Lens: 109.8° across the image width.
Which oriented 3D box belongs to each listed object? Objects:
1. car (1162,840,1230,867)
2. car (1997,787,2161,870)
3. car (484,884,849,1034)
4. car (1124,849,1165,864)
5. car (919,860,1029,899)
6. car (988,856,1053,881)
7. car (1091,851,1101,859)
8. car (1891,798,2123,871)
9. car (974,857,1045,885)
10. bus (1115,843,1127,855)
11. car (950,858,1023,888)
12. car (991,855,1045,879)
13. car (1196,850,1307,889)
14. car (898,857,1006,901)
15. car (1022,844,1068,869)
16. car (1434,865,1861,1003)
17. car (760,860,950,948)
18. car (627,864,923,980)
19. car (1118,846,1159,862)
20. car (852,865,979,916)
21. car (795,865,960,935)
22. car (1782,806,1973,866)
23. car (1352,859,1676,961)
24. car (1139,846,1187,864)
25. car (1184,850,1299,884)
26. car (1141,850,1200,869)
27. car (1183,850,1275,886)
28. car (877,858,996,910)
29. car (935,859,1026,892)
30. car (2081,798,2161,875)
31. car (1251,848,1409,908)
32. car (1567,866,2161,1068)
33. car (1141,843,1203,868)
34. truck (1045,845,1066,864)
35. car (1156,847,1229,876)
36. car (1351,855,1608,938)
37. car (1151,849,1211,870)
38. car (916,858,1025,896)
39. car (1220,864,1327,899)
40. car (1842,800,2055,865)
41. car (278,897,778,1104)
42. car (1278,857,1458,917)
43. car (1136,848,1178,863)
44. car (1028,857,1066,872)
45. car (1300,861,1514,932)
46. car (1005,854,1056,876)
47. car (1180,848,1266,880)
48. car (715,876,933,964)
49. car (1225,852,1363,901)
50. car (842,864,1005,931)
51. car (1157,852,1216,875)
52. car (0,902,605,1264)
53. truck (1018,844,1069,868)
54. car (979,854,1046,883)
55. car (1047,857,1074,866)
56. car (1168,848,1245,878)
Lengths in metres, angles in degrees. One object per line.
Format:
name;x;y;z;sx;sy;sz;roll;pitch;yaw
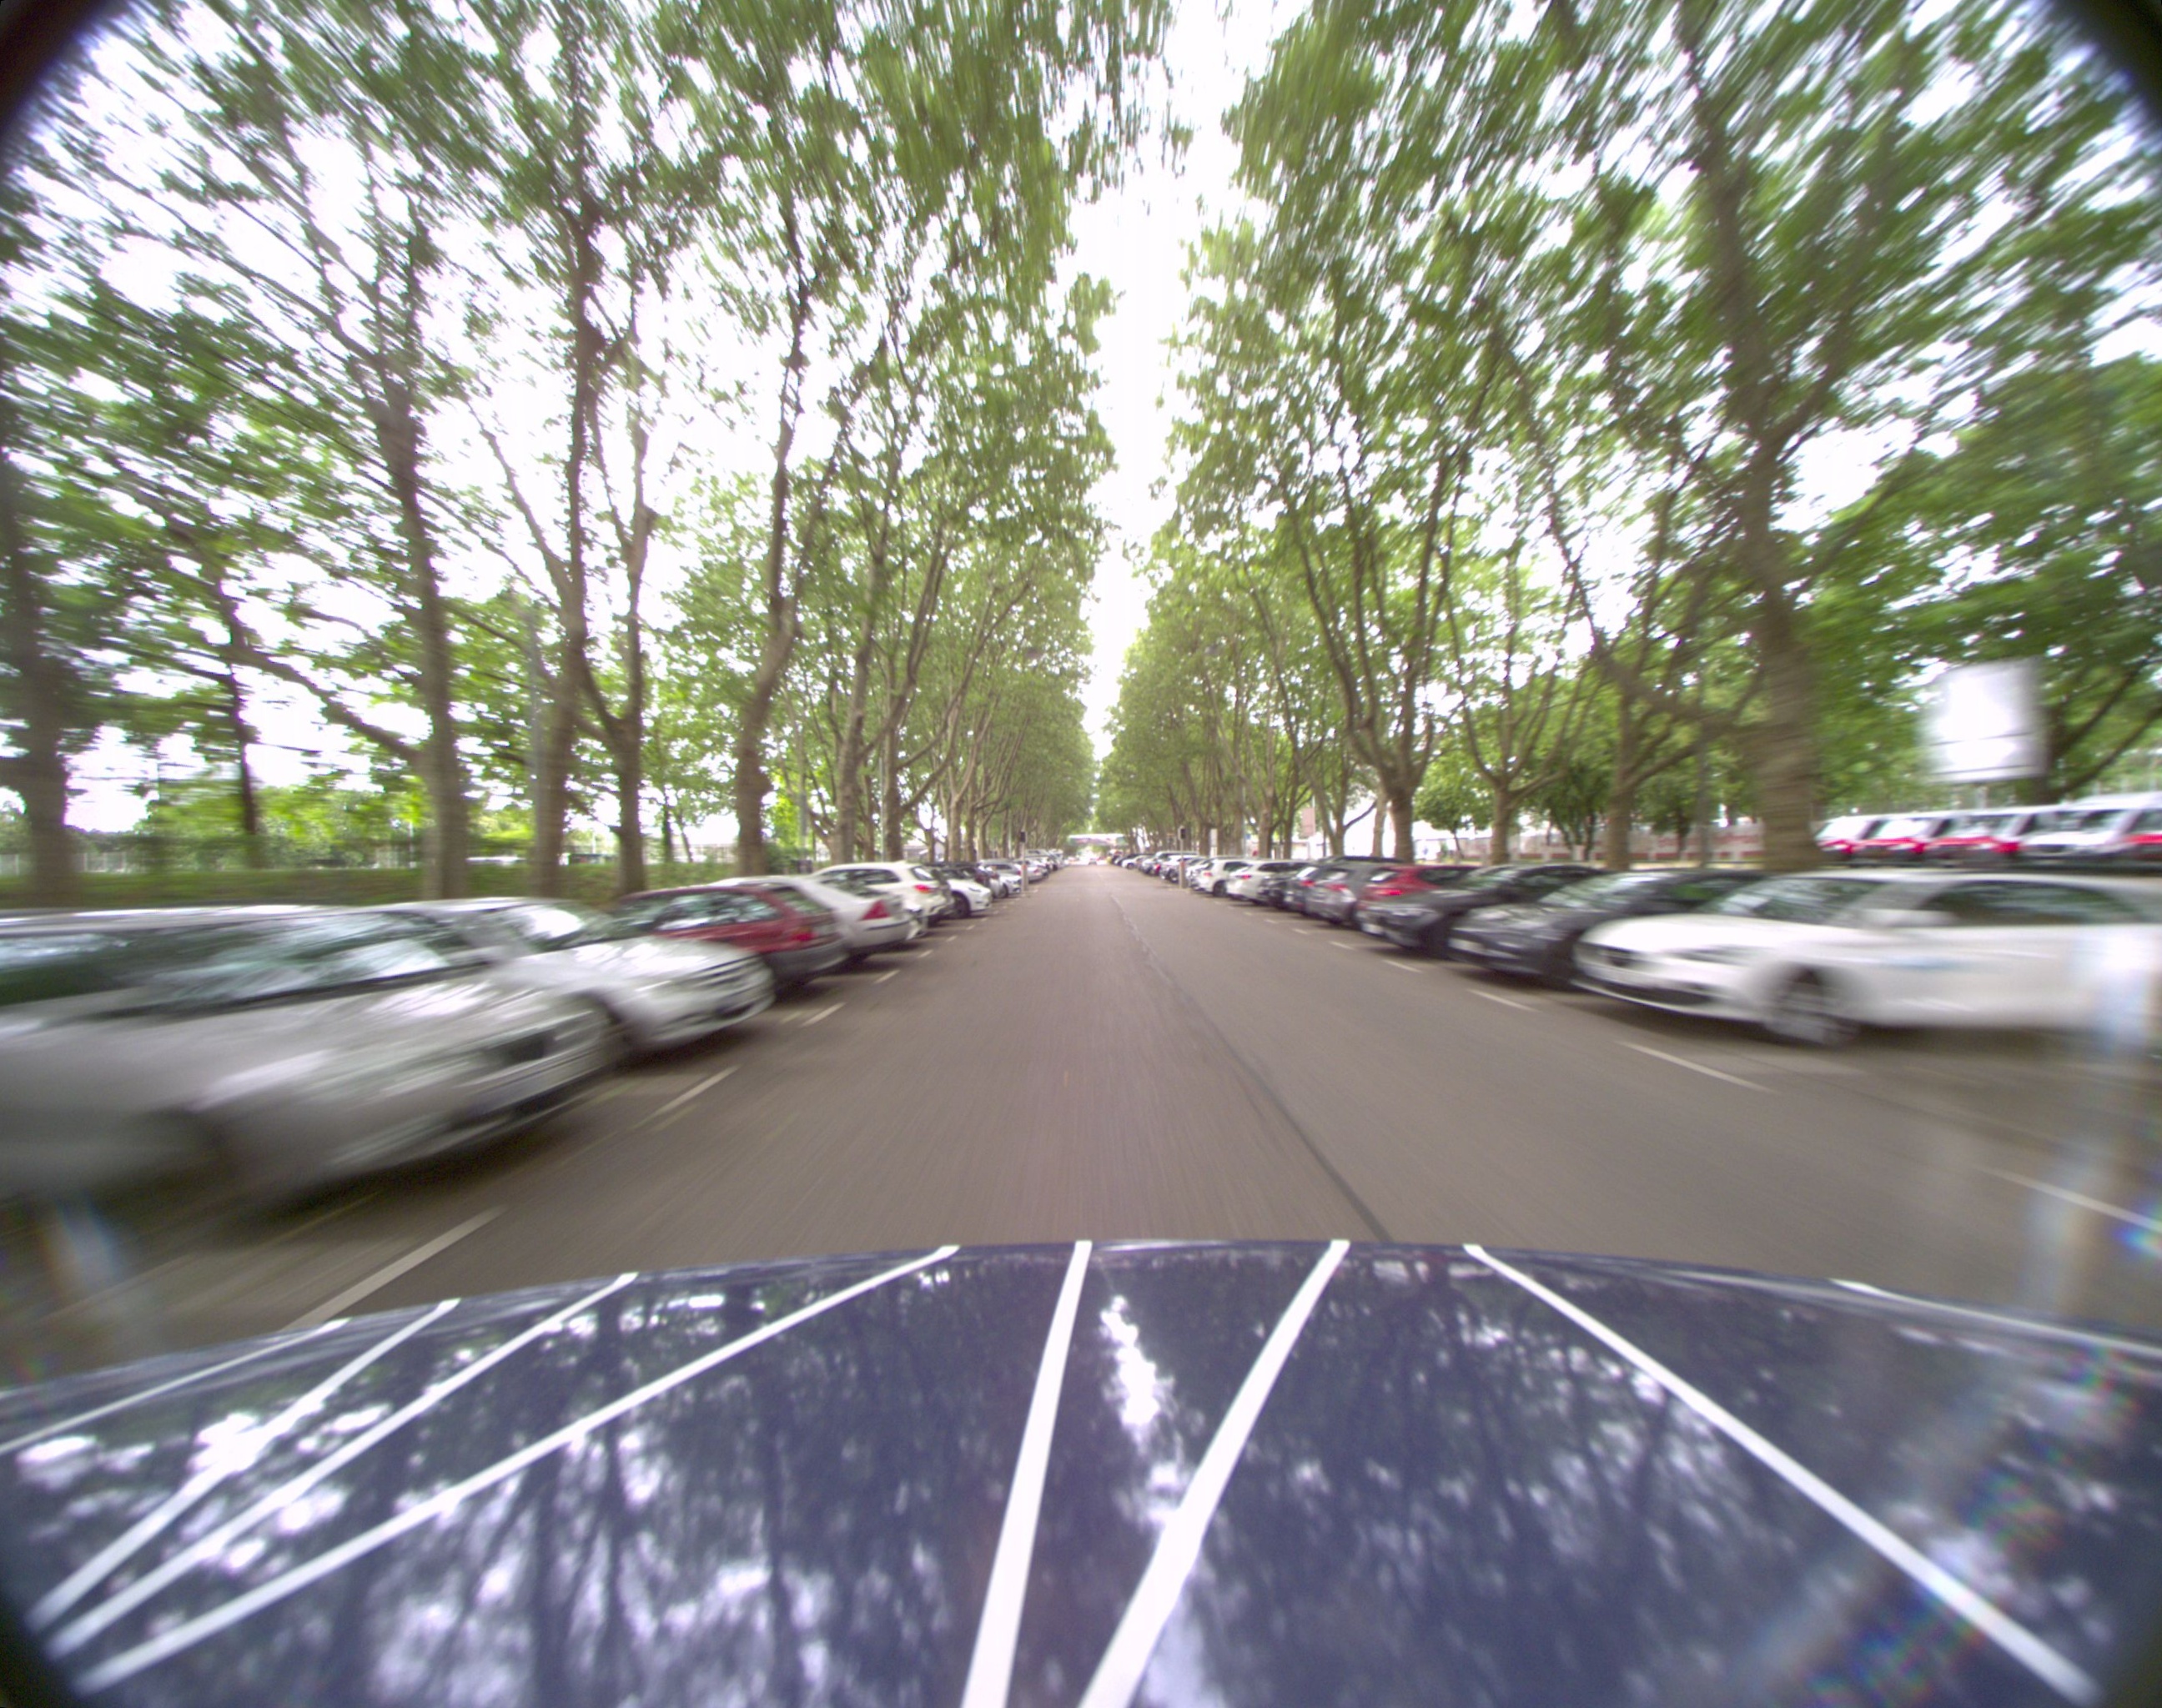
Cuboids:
car;7.030;-0.009;46.731;3.837;1.618;1.952;0;0;-3
car;34.537;-0.871;25.135;6.017;2.512;2.000;-2;0;0
car;-4.731;1.165;9.050;3.434;1.415;1.518;-2;0;-3
car;7.245;0.279;87.005;4.391;1.587;2.000;0;0;-1
car;-4.797;1.147;34.472;4.625;1.461;1.650;-4;0;3
car;-4.022;0.981;51.202;4.222;1.443;1.610;-2;0;-1
car;2.746;0.104;142.487;1.693;1.462;3.839;0;0;-1
car;33.765;-0.690;27.820;6.017;2.304;2.000;-2;0;0
car;-4.335;1.022;46.401;4.124;1.461;1.694;-2;0;0
bus;10.578;-1.233;200.989;2.658;3.136;12.370;1;0;2
car;-5.171;1.034;41.972;3.785;1.461;1.667;-2;0;0
car;-4.659;0.958;56.310;3.837;1.598;1.694;-2;0;-1
car;6.486;0.584;29.169;3.837;1.421;1.694;0;0;-3
car;-4.836;0.925;28.839;3.786;1.461;1.623;-2;0;-3
car;-4.274;0.328;91.487;5.241;2.673;1.957;-3;0;1
car;6.489;0.869;8.997;3.837;1.421;1.693;0;1;-3
car;-4.832;1.053;16.606;3.655;1.657;1.518;-2;0;-3
car;-4.443;0.953;11.561;3.655;1.415;1.985;-2;0;-3
car;7.965;-0.001;105.151;5.450;2.115;1.940;0;0;-1
car;-5.171;1.133;24.030;3.655;1.363;1.518;-2;0;-3
car;-5.049;1.121;19.185;3.654;1.510;1.643;-2;0;1
car;33.949;-0.738;32.492;6.017;2.239;2.000;-2;0;0
car;6.484;0.803;11.659;4.032;1.421;1.694;0;0;-3
car;7.879;0.097;73.481;4.352;1.658;2.000;1;0;-1
car;6.684;0.539;31.918;4.413;1.357;1.694;0;0;-3
car;6.858;0.409;58.743;4.458;1.444;1.775;0;0;4
car;6.681;0.616;34.547;3.837;1.598;1.694;0;0;-3
car;-4.969;1.011;26.460;3.786;1.588;1.820;-2;0;-3
car;-5.086;1.081;38.750;4.377;1.461;1.623;-2;0;0
car;34.256;-0.628;22.723;6.017;2.227;2.000;-2;0;0
car;6.979;0.653;21.525;3.838;1.599;1.858;0;0;-3
car;6.970;0.877;6.575;4.412;1.421;1.694;1;0;0
car;7.611;0.119;63.745;4.907;2.007;1.919;0;1;-3
truck;-4.072;0.094;119.433;2.466;2.920;7.533;-2;0;-8
car;6.414;0.429;44.030;4.077;1.598;1.799;0;0;3
car;7.192;0.734;14.027;3.835;1.421;1.695;0;0;4
car;7.113;0.380;54.184;4.007;1.463;1.536;1;0;-5
car;-4.466;0.924;31.173;4.309;1.461;1.623;-1;0;-3
car;6.717;0.949;26.668;3.325;1.196;1.584;0;0;-3
car;33.971;-0.823;29.872;6.017;2.239;2.000;-2;0;0
car;-4.658;1.180;6.593;3.431;1.415;1.520;-2;0;11
car;7.106;0.791;19.073;3.837;1.421;1.802;0;0;-1
car;7.580;0.156;75.820;3.998;1.467;1.842;1;0;-2
car;-3.864;1.179;86.177;4.129;1.420;1.703;-4;1;2
car;6.850;0.865;16.210;3.837;1.421;1.694;0;0;-3
car;-4.558;0.979;69.617;4.394;1.745;1.801;-3;0;3
car;7.199;0.502;38.716;4.054;1.599;1.694;0;1;-3
car;-4.843;1.226;14.680;3.655;1.402;1.518;-2;0;-3
car;6.620;0.682;23.882;3.837;1.488;1.694;0;0;-3
car;-4.311;1.172;21.326;4.178;1.587;1.854;-2;0;-3
car;7.187;0.644;52.129;3.765;1.466;1.864;1;0;-1
car;-4.885;1.085;4.129;3.686;1.415;1.520;-2;0;6
truck;-4.744;0.256;96.825;6.309;2.699;2.098;-2;0;2
car;-4.377;0.931;48.943;4.123;1.660;1.694;-2;0;1
car;-3.344;1.241;126.448;4.330;1.294;1.700;-2;0;1
car;6.756;0.484;41.169;3.837;1.598;1.834;0;0;-3
